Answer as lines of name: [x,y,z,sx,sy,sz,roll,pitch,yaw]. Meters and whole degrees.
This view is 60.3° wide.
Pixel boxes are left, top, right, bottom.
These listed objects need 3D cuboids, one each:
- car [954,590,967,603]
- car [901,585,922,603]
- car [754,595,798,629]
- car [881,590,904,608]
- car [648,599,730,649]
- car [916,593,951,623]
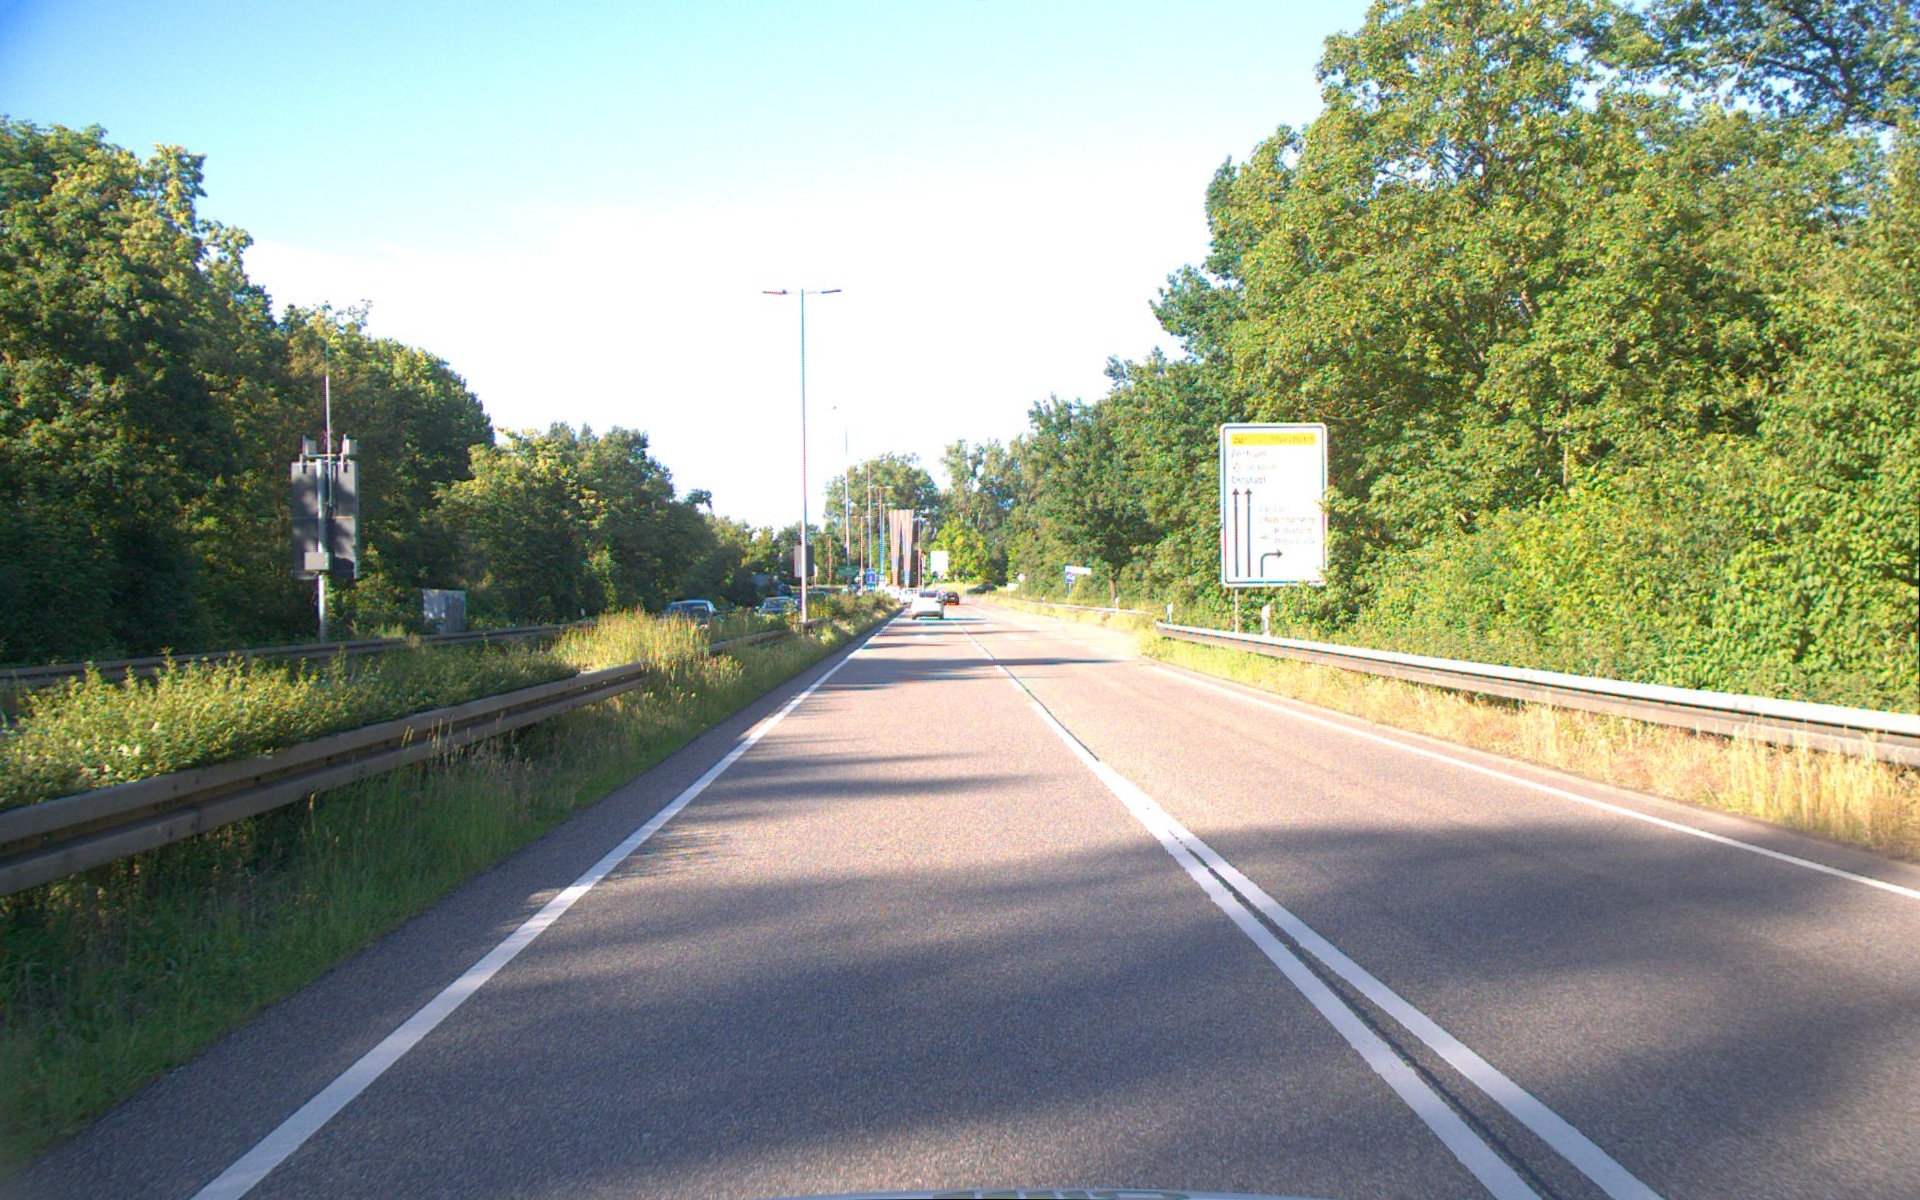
car: [0.050,-0.375,178.703,1.360,1.303,2.986,2,-1,-2]
car: [-5.396,-0.655,184.254,1.956,1.912,4.243,-2,1,-7]
car: [-9.007,0.576,81.433,1.585,1.557,4.608,-1,0,0]
car: [-8.336,-0.104,204.340,1.960,2.049,3.985,1,-1,-14]
car: [-8.391,0.708,51.555,1.744,1.427,4.553,-1,0,0]
car: [-1.591,0.458,97.851,1.953,1.668,4.127,-2,1,-1]
